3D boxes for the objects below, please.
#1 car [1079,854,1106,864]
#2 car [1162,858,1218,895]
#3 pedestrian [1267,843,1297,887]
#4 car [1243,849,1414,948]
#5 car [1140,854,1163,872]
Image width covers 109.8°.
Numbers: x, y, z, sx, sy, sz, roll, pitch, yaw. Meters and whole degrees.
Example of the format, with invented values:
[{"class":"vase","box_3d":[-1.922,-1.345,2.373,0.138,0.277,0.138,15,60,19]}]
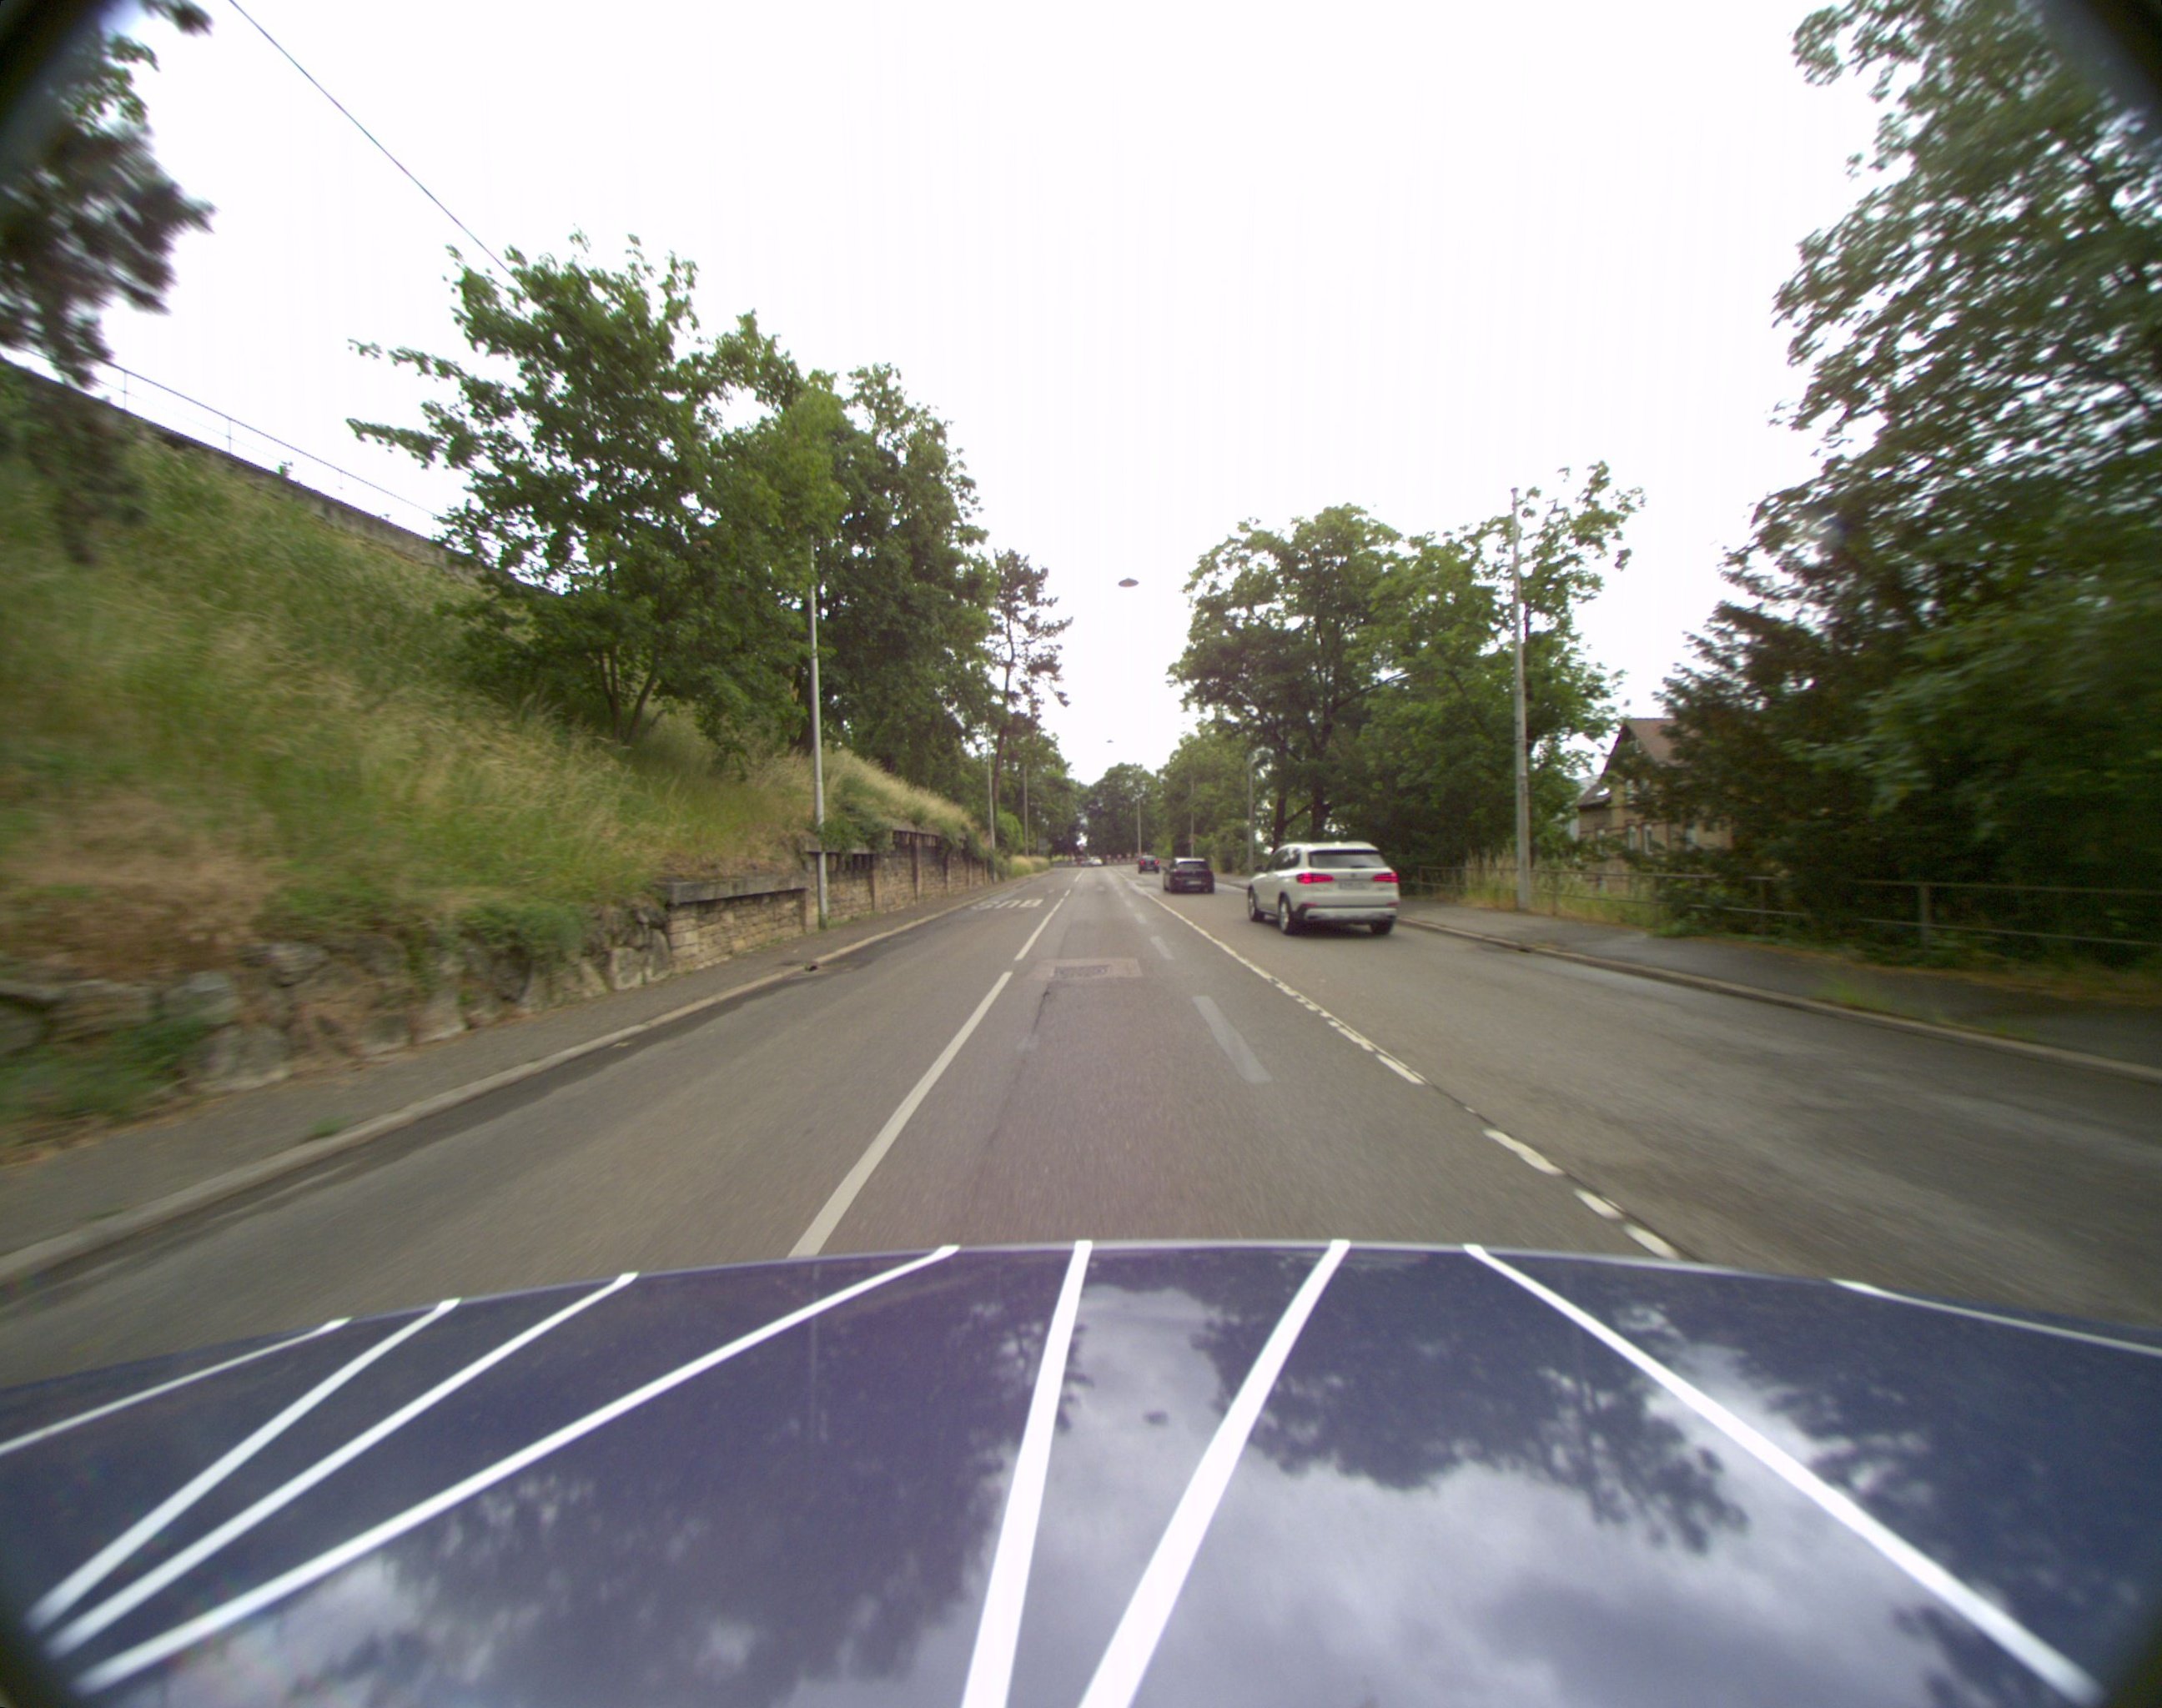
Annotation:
[{"class":"car","box_3d":[1.721,0.730,114.969,1.803,1.419,4.133,-2,0,-36]},{"class":"car","box_3d":[4.478,0.886,31.664,1.717,1.419,4.138,-1,0,0]},{"class":"pedestrian","box_3d":[8.387,0.457,31.775,0.790,1.764,1.209,-5,0,-2]},{"class":"car","box_3d":[4.764,0.768,15.416,2.000,1.673,4.663,-1,0,1]},{"class":"car","box_3d":[5.786,0.713,62.743,1.673,1.439,3.688,-1,0,1]}]
